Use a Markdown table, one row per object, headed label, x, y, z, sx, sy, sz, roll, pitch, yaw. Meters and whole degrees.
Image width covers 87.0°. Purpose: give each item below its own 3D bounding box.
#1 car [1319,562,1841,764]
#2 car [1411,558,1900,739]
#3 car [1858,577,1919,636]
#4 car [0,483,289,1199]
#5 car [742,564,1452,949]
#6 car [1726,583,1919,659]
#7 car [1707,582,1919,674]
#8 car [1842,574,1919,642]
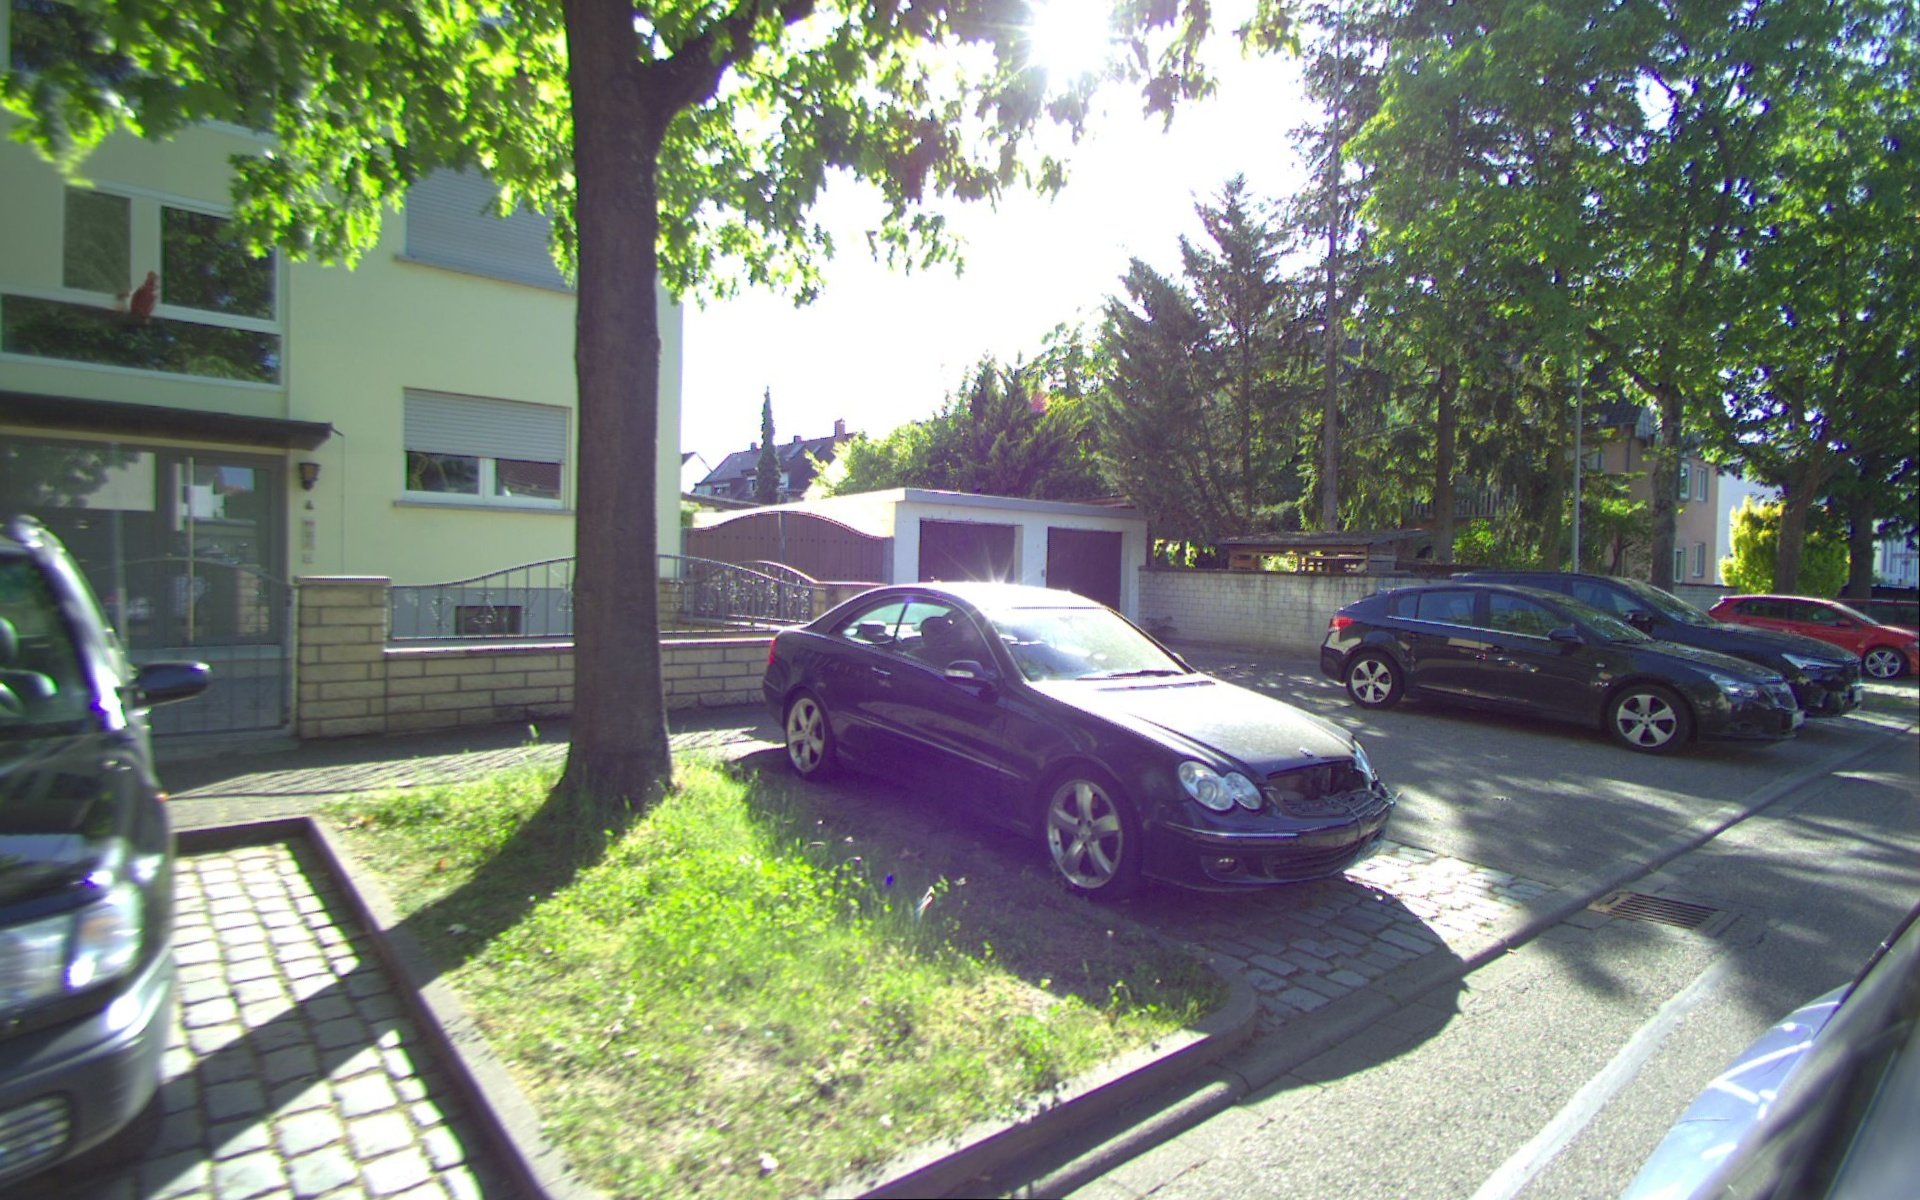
| label | x | y | z | sx | sy | sz | roll | pitch | yaw |
| --- | --- | --- | --- | --- | --- | --- | --- | --- | --- |
| car | 6.296 | 0.465 | 10.738 | 1.808 | 1.548 | 4.330 | 0 | 4 | -40 |
| car | 8.259 | 0.407 | 12.447 | 1.805 | 1.666 | 4.585 | 0 | 4 | -40 |
| car | 30.085 | 0.301 | 30.250 | 1.846 | 1.699 | 4.516 | -1 | 5 | -39 |
| car | -3.396 | 0.475 | 2.984 | 1.835 | 1.579 | 4.347 | 0 | 3 | -41 |
| car | 0.404 | 0.558 | 6.263 | 1.659 | 1.347 | 4.442 | 0 | 4 | -38 |
| car | 20.564 | 0.459 | 23.147 | 1.805 | 1.463 | 4.516 | 0 | 3 | -38 |
| car | 17.215 | 0.495 | 19.833 | 1.724 | 1.502 | 3.788 | -1 | 4 | -38 |
| car | 27.662 | 0.286 | 28.276 | 1.757 | 1.803 | 4.224 | 0 | 4 | -38 |
